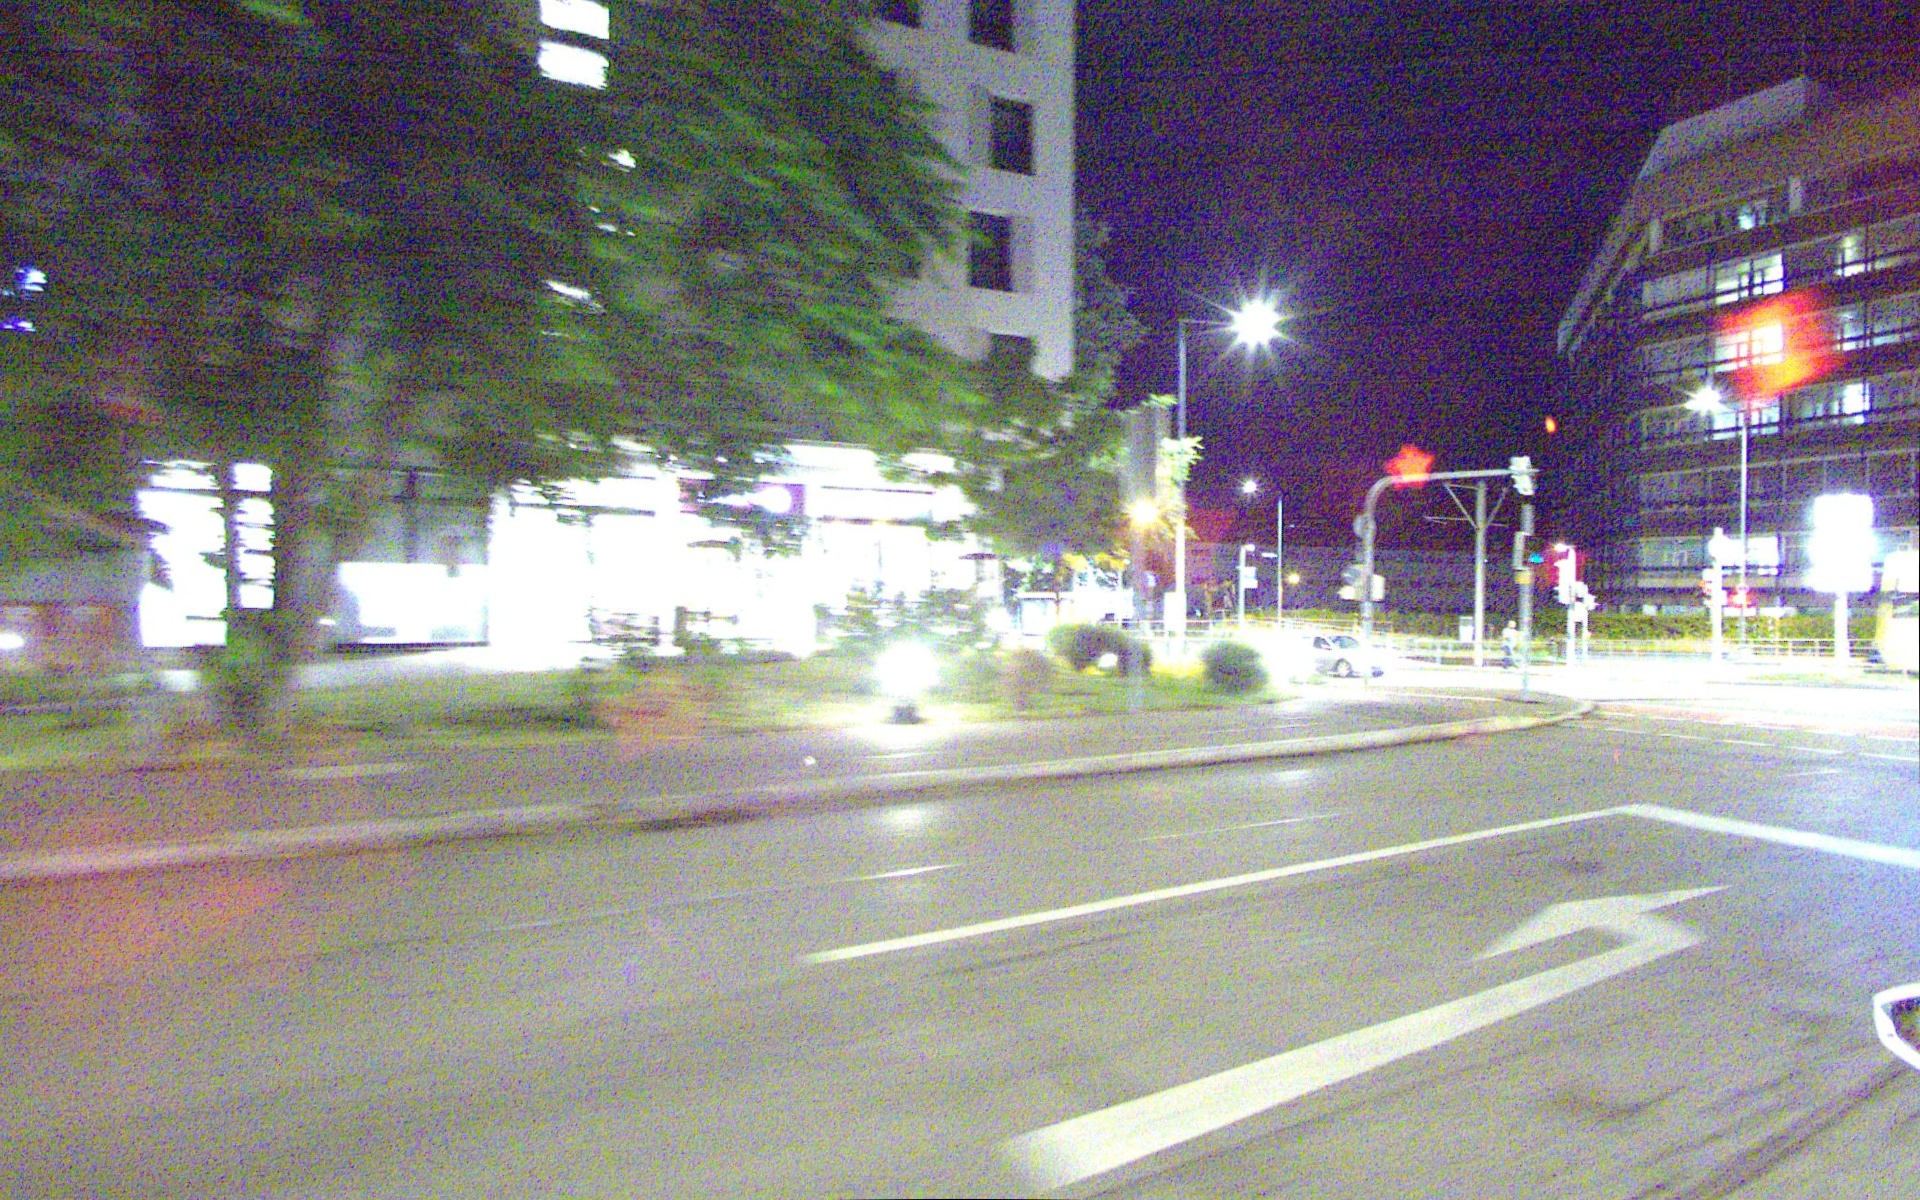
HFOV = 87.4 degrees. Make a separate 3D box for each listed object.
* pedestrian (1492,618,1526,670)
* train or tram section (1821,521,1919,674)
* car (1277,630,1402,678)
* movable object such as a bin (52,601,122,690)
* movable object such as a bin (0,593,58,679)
[{"bbox_3d":[18.784,1.505,34.365,0.651,1.760,0.761,0,-2,-30],"label":"pedestrian"},{"bbox_3d":[29.020,-0.240,19.180,2.900,3.912,19.741,1,-2,-24],"label":"train or tram section"},{"bbox_3d":[12.658,1.762,33.708,1.882,1.500,3.754,1,-2,-23],"label":"car"},{"bbox_3d":[-14.815,0.761,17.066,0.798,1.471,0.439,-1,-1,-27],"label":"movable object such as a bin"},{"bbox_3d":[-15.636,0.601,16.782,0.723,1.389,0.354,-3,0,-30],"label":"movable object such as a bin"}]
